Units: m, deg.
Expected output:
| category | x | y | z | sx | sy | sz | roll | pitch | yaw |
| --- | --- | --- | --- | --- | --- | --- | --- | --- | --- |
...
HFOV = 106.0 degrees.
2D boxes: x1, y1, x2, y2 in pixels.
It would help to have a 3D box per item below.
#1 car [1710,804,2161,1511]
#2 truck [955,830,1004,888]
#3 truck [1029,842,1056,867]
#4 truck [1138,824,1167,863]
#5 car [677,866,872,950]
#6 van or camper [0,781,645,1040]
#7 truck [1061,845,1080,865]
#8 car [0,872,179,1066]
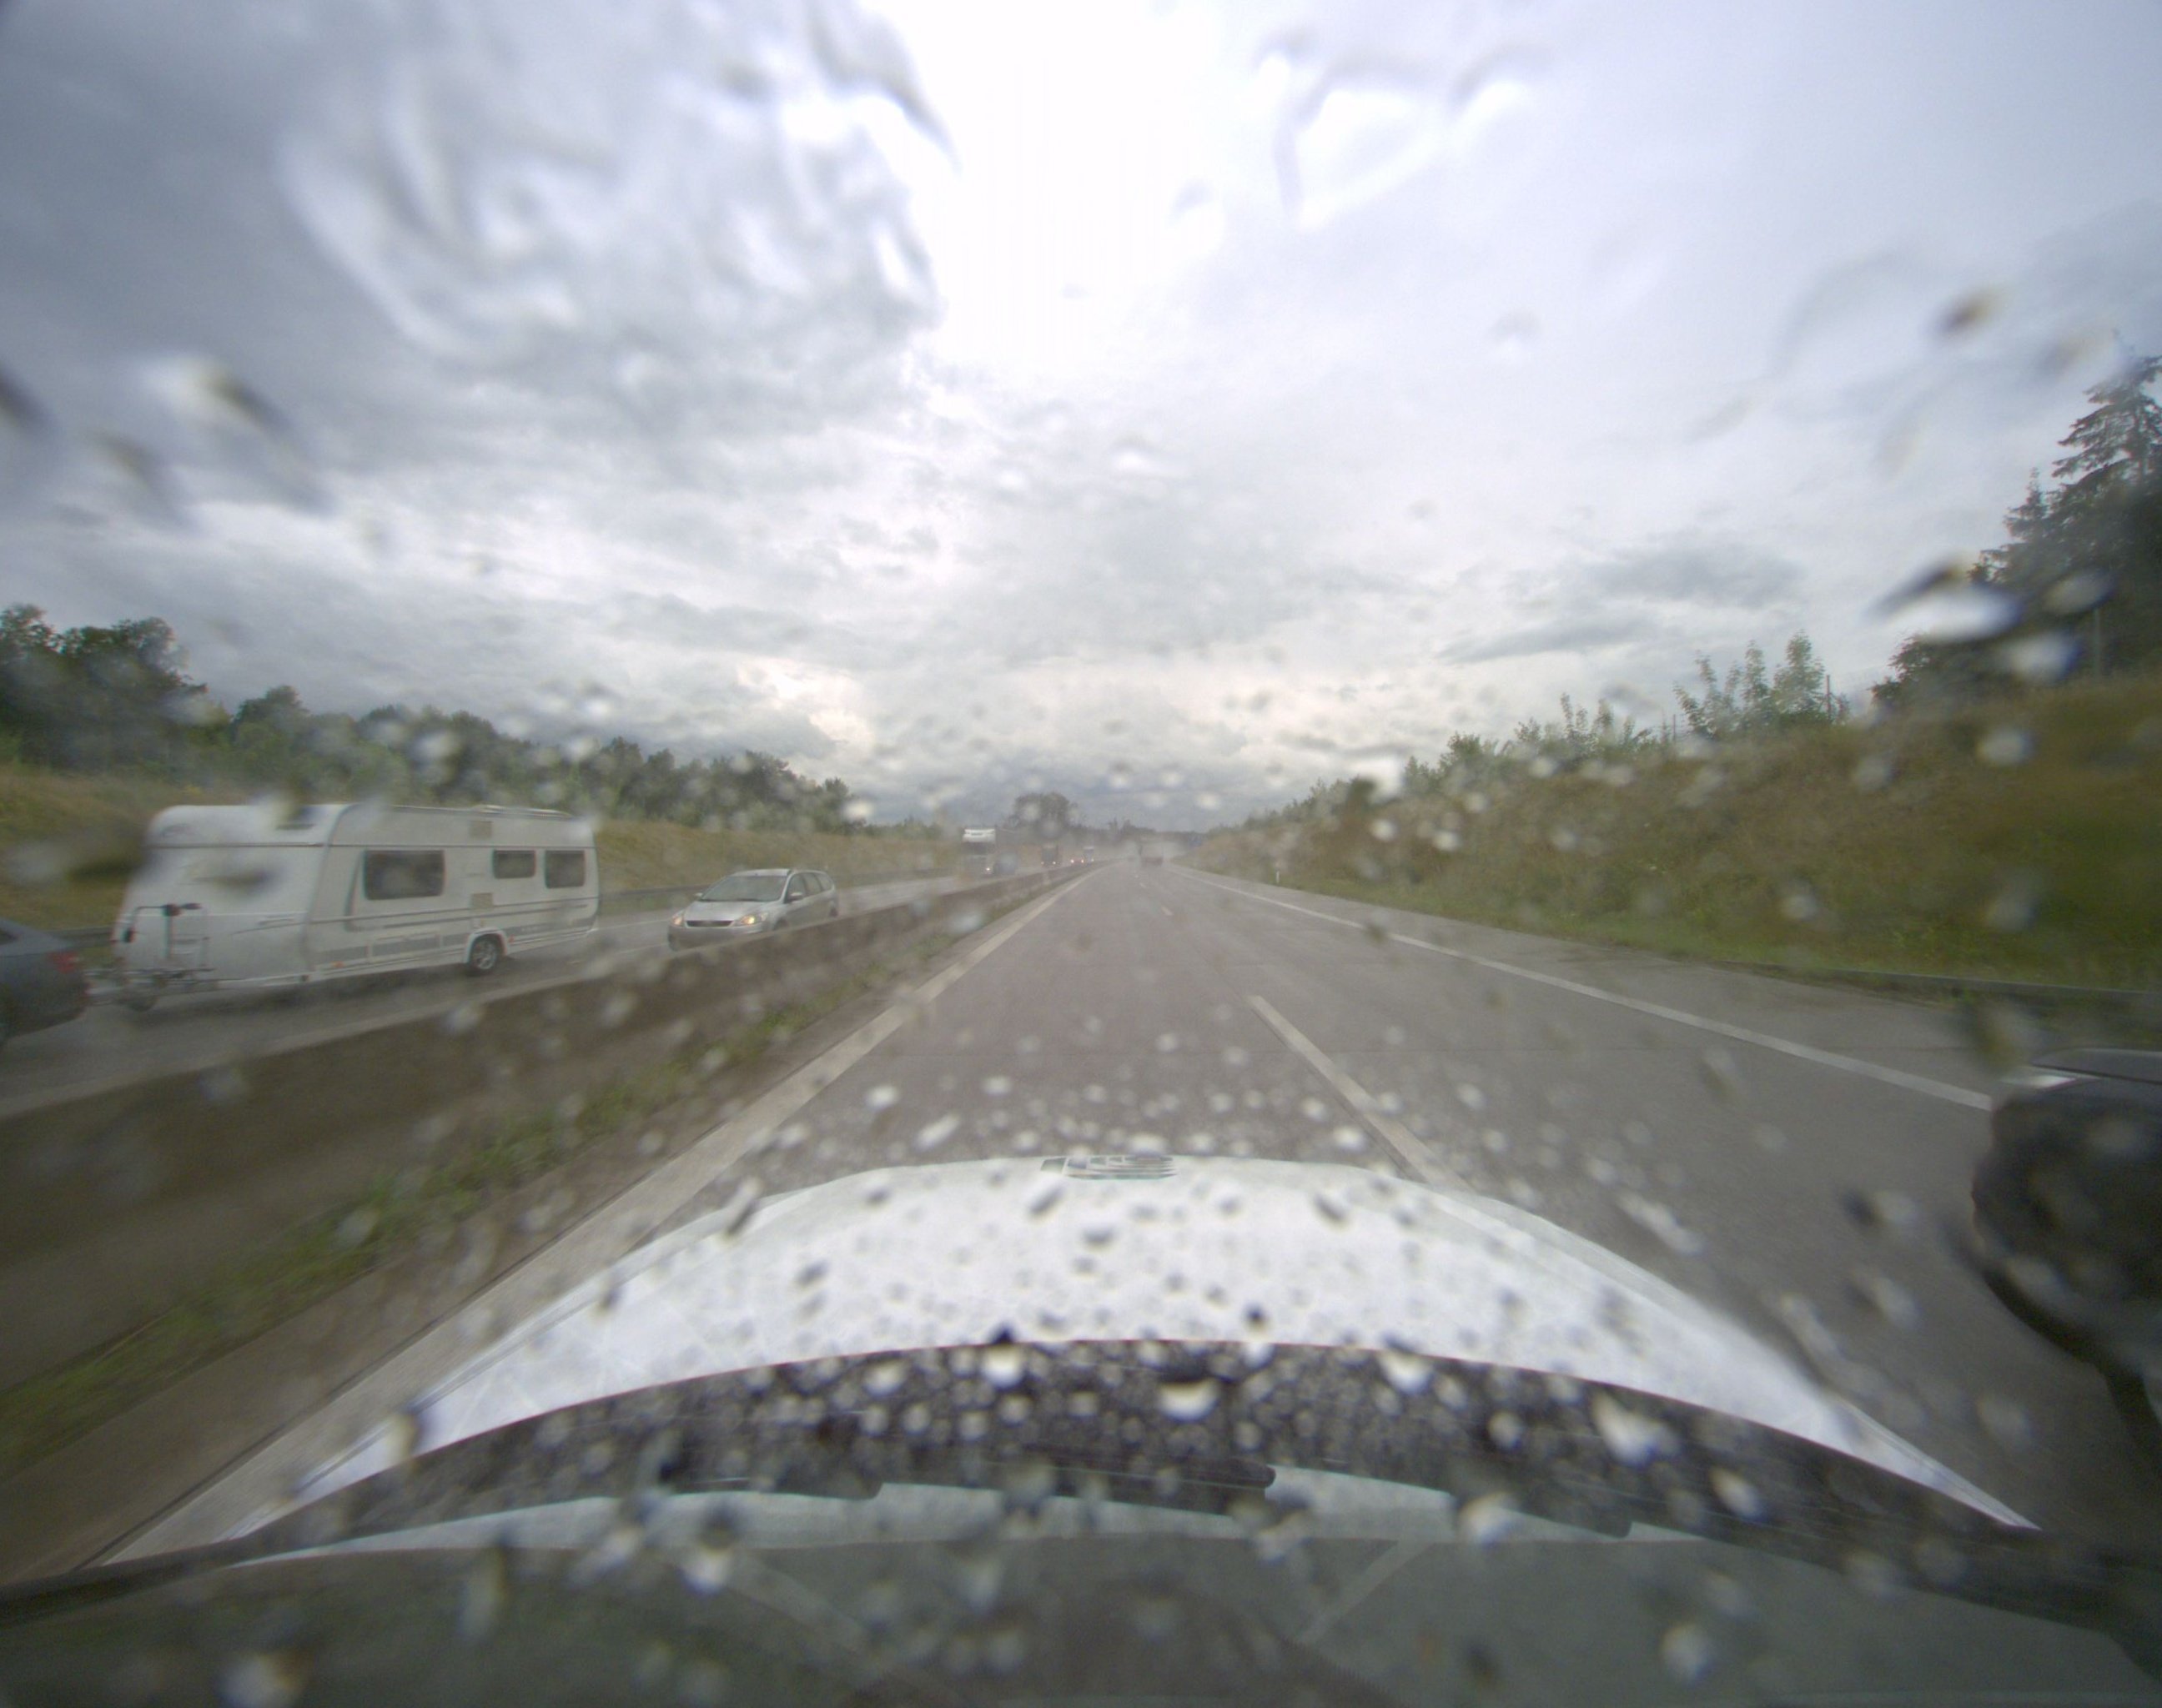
| category | x | y | z | sx | sy | sz | roll | pitch | yaw |
| --- | --- | --- | --- | --- | --- | --- | --- | --- | --- |
| car | 3.330 | 0.672 | 1.333 | 1.887 | 1.576 | 3.633 | 0 | 0 | 2 |
| truck | -8.281 | 0.369 | 67.033 | 2.809 | 4.520 | 6.630 | 0 | 0 | 3 |
| truck | -5.711 | 0.065 | 123.084 | 3.155 | 3.533 | 8.372 | -1 | 0 | 3 |
| truck | 8.550 | -1.270 | 97.275 | 3.228 | 4.436 | 8.259 | -1 | 1 | 5 |
| car | -5.806 | 0.956 | 16.140 | 1.986 | 1.311 | 4.513 | -1 | 0 | 2 |
| van or camper | -10.006 | 0.458 | 12.195 | 2.435 | 2.595 | 7.933 | 1 | 2 | 2 |
| truck | -1.456 | 0.188 | 119.915 | 2.323 | 2.782 | 6.166 | -1 | 0 | 3 |
| car | -10.182 | 0.978 | 5.500 | 2.277 | 1.557 | 5.184 | 1 | 0 | 2 |
